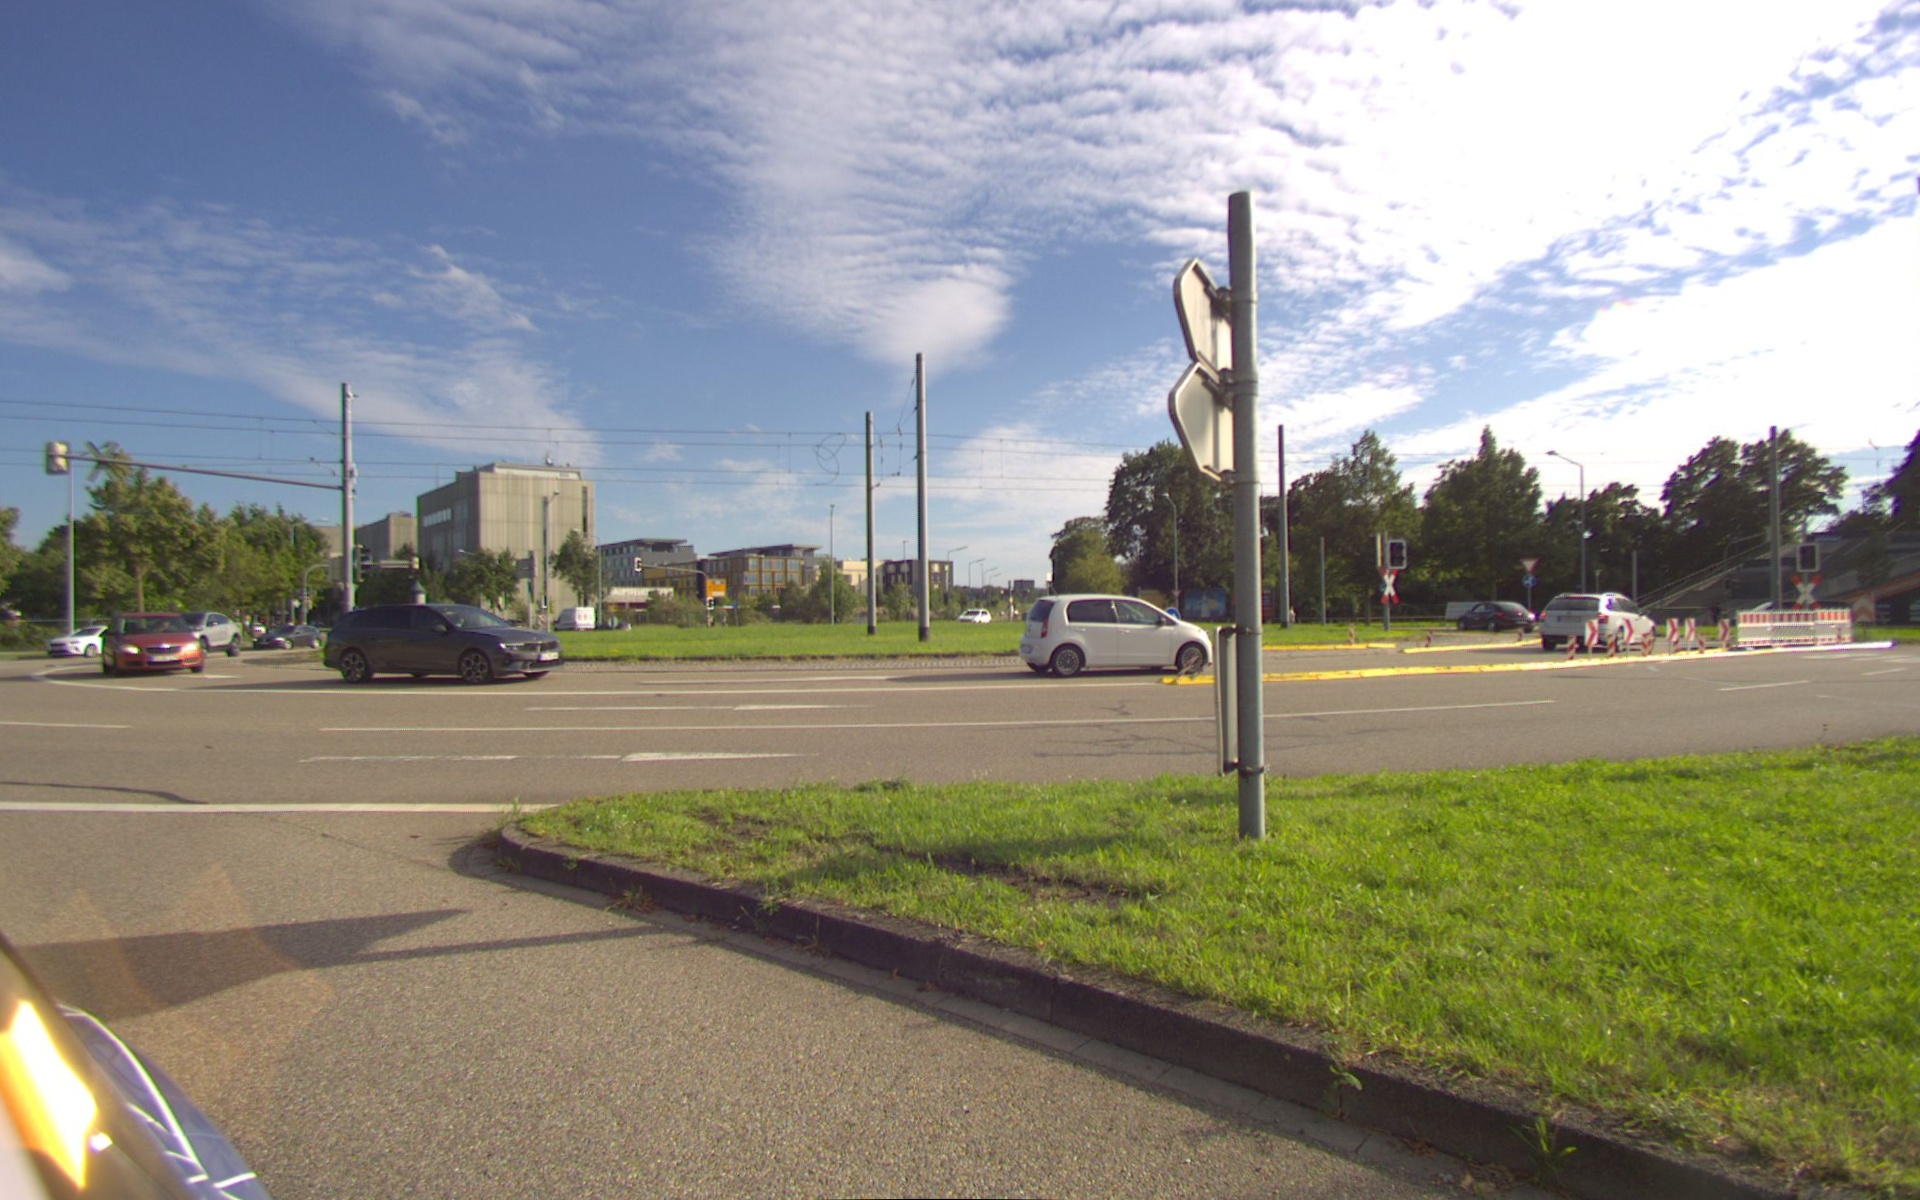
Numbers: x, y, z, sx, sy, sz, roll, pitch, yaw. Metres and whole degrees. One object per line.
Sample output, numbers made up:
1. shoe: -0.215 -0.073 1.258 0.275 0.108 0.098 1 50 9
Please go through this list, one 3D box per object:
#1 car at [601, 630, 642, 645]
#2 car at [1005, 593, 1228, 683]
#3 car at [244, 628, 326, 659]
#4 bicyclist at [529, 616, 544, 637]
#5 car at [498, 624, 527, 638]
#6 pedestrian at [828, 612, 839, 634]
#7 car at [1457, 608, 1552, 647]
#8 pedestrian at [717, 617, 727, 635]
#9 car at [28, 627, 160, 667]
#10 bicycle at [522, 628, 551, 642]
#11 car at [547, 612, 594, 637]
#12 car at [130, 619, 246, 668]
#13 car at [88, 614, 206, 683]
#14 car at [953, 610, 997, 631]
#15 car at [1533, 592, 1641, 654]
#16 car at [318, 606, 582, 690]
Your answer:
1. car: -28.055 3.119 83.771 1.661 1.275 3.996 3 -4 -44
2. car: 2.824 0.661 18.564 3.599 1.475 1.772 -1 -1 -13
3. car: -39.456 2.500 59.284 1.969 1.674 4.809 -1 -1 -6
4. bicyclist: -32.870 2.040 78.582 0.852 1.567 1.000 0 -1 -37
5. car: -48.705 3.393 110.145 1.660 1.513 3.998 3 -4 -43
6. pedestrian: -11.215 2.041 89.795 0.883 1.930 0.867 -3 0 -6
7. car: 24.872 1.235 46.397 1.970 1.552 4.003 -3 1 -4
8. pedestrian: -21.781 2.351 92.652 0.619 1.642 0.659 -2 -1 -39
9. car: -39.881 2.122 46.770 1.972 1.674 4.802 -1 -1 1
10. bicycle: -32.871 2.689 78.581 1.929 1.015 1.004 0 -1 -37
11. car: -37.486 2.381 97.327 2.035 2.281 6.028 3 -4 -44
12. car: -26.004 1.417 34.243 1.666 1.486 4.239 0 0 -16
13. car: -19.566 1.139 24.300 4.228 1.486 1.671 -2 -1 44
14. car: 1.215 1.628 81.560 1.884 1.588 4.384 -1 -1 26
15. car: 16.610 0.542 26.706 1.855 1.456 4.578 0 1 39
16. car: -9.565 0.893 19.032 4.409 1.431 1.814 -2 0 17
